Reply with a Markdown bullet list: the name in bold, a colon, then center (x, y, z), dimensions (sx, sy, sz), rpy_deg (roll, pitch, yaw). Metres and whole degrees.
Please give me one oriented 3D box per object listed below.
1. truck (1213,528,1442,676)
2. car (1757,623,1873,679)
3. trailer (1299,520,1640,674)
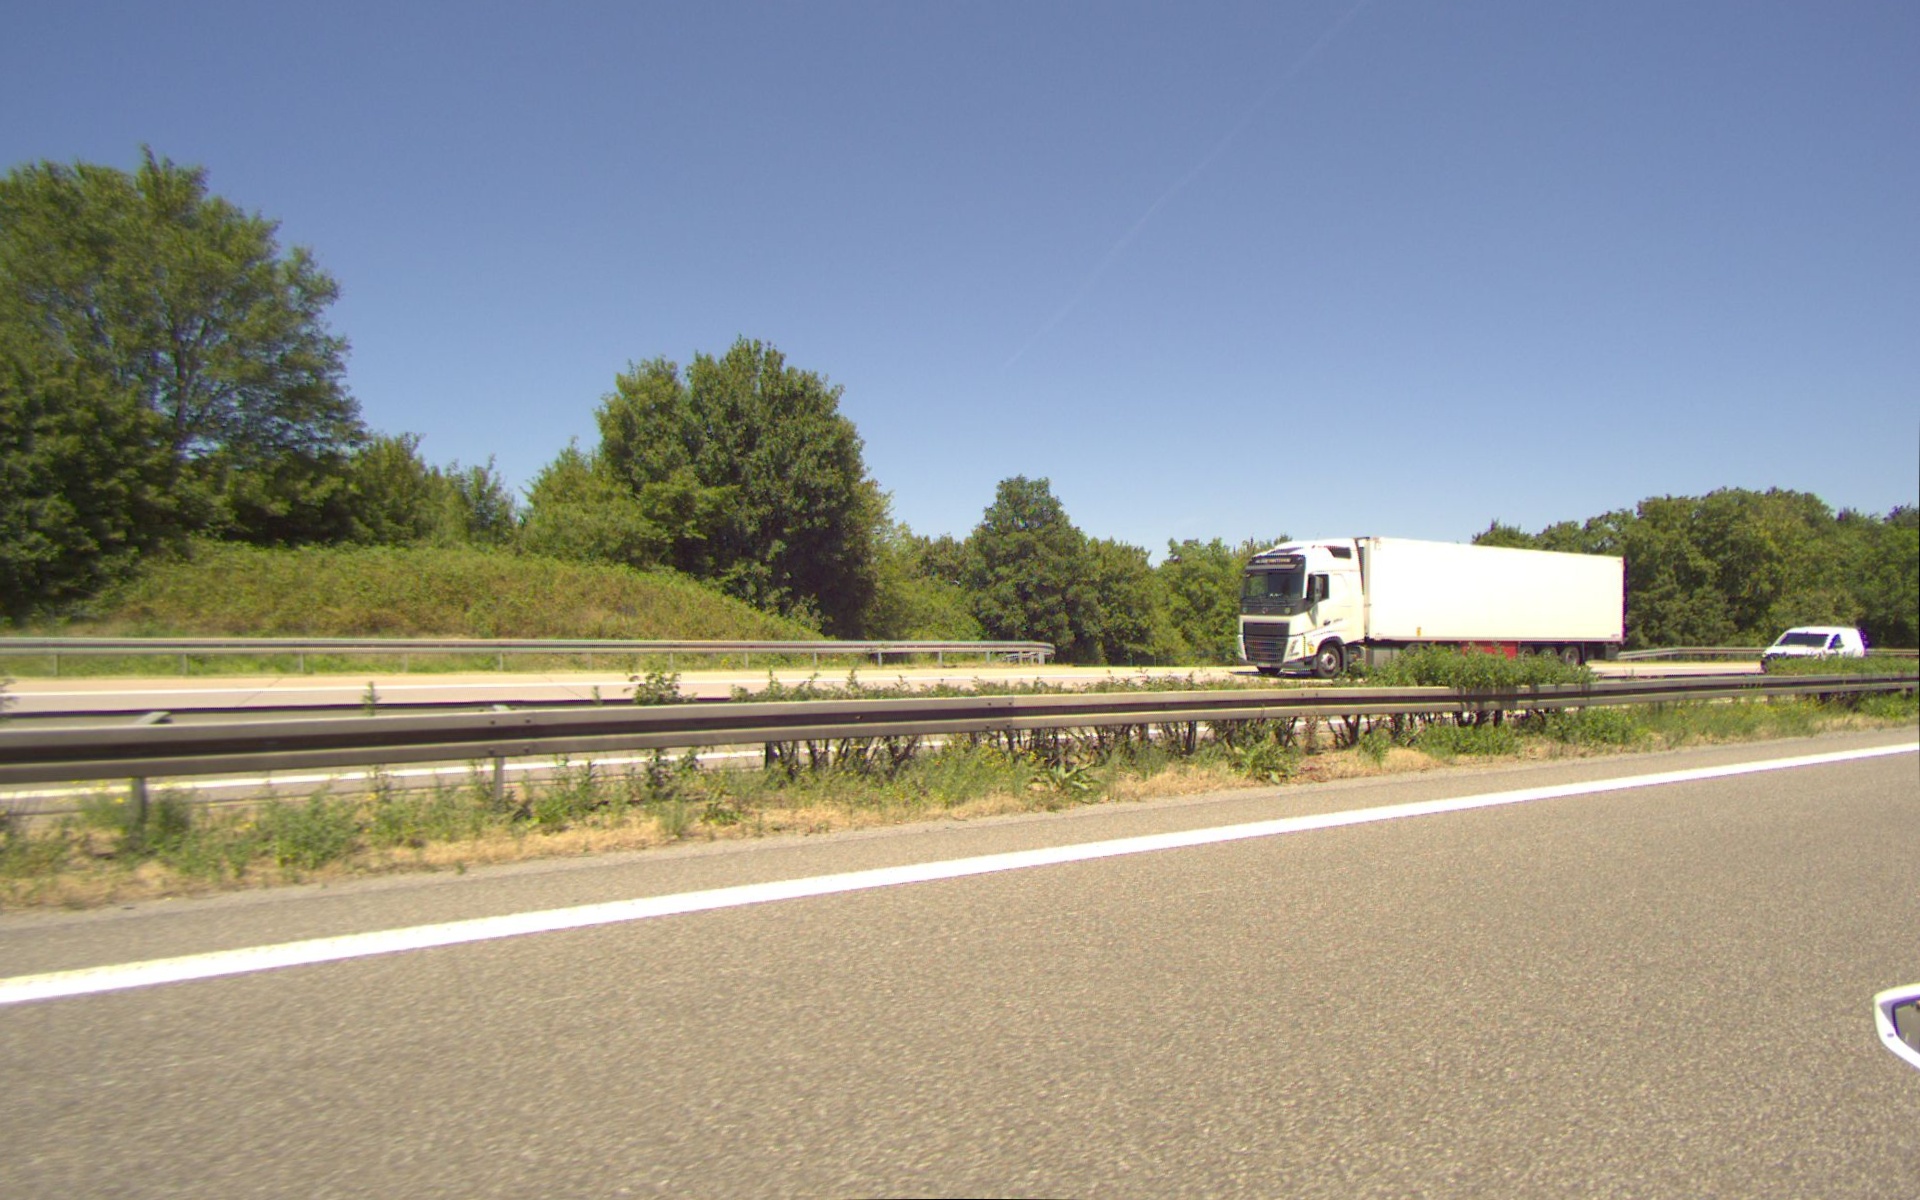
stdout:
- **truck**: center (10.980, 0.130, 29.958), dimensions (6.027, 4.004, 3.246), rpy_deg (2, 0, -29)
- **car**: center (31.236, 1.848, 36.664), dimensions (4.822, 1.901, 1.806), rpy_deg (2, -1, -31)
- **trailer**: center (17.369, 0.076, 33.613), dimensions (13.424, 4.420, 3.297), rpy_deg (2, -1, -30)
